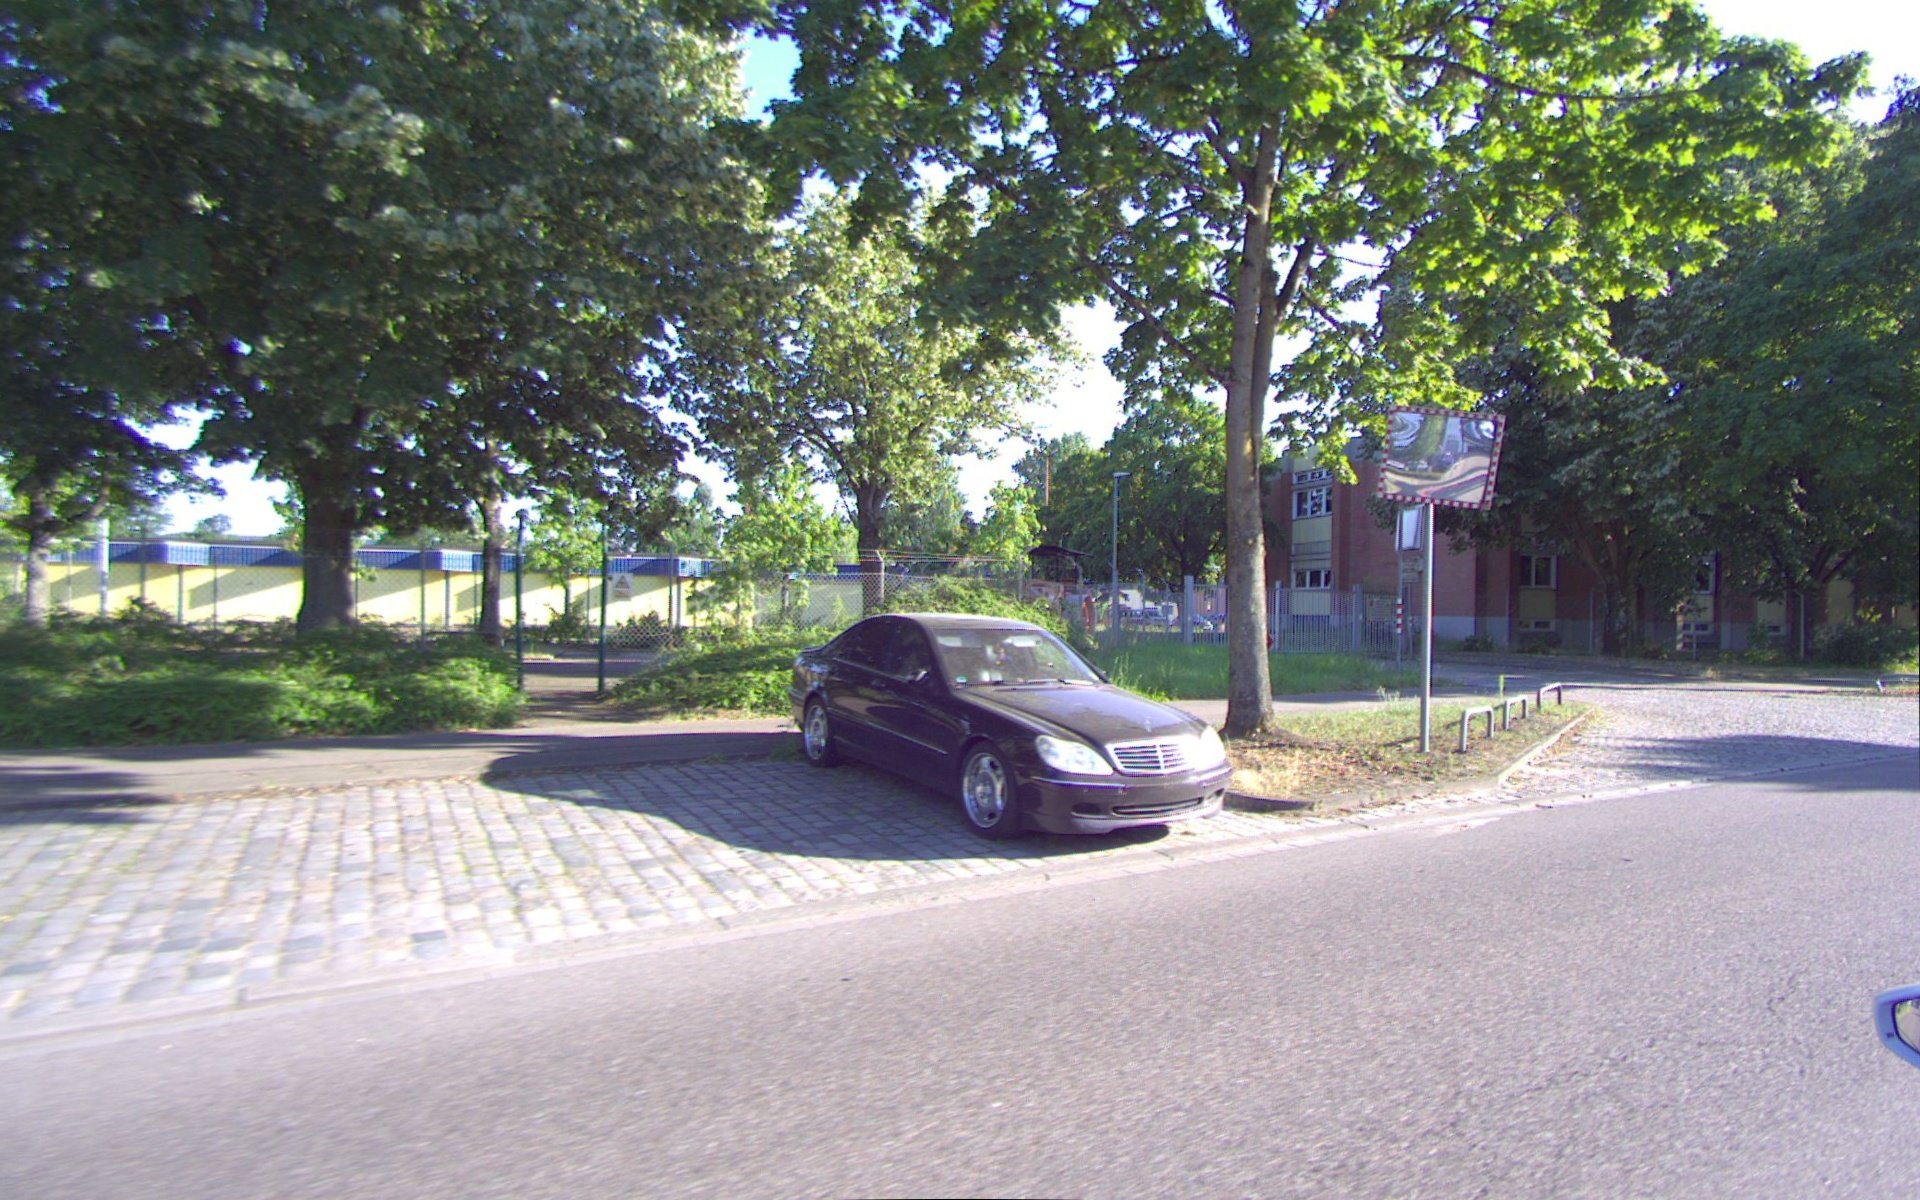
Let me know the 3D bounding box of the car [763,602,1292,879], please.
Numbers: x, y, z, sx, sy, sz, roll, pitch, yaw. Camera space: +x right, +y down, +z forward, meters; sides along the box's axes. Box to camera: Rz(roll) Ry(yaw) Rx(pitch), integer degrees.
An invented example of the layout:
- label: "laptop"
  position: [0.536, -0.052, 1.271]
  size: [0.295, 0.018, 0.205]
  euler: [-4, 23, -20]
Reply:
- label: "car"
  position: [0.152, 0.851, 8.590]
  size: [1.978, 1.482, 5.008]
  euler: [1, 1, -31]

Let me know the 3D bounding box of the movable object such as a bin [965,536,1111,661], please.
- label: "movable object such as a bin"
  position: [2.014, -0.001, 24.315]
  size: [2.123, 2.700, 4.802]
  euler: [0, -1, 23]
